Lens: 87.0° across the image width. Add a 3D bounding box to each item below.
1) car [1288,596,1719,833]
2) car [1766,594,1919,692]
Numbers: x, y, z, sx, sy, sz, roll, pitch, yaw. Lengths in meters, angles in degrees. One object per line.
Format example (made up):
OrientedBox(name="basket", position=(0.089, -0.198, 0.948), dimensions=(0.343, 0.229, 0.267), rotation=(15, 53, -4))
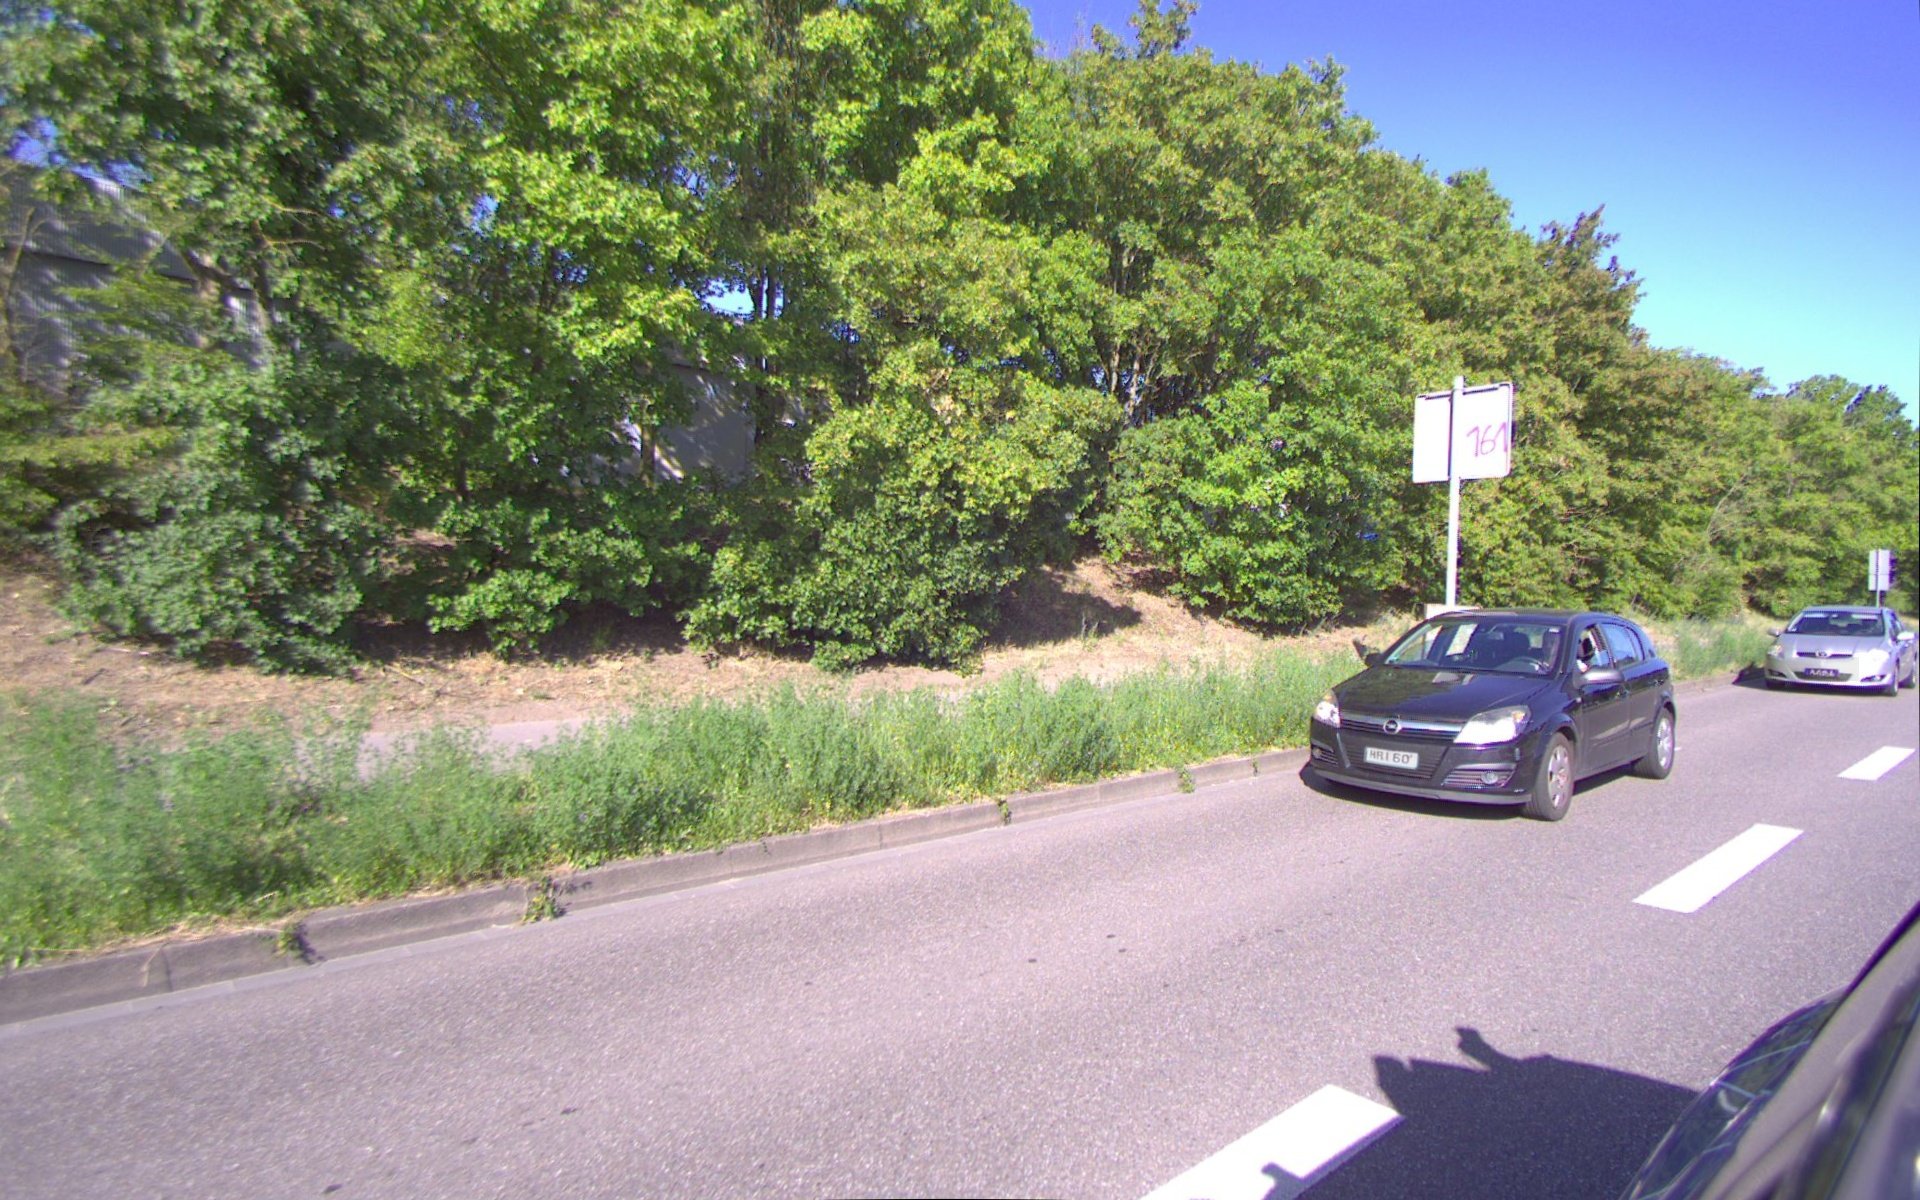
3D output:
OrientedBox(name="car", position=(4.661, 0.707, 8.381), dimensions=(4.295, 1.460, 1.737), rotation=(0, 0, -41))
OrientedBox(name="car", position=(16.084, 0.683, 18.191), dimensions=(4.036, 1.556, 1.786), rotation=(0, 0, -41))
